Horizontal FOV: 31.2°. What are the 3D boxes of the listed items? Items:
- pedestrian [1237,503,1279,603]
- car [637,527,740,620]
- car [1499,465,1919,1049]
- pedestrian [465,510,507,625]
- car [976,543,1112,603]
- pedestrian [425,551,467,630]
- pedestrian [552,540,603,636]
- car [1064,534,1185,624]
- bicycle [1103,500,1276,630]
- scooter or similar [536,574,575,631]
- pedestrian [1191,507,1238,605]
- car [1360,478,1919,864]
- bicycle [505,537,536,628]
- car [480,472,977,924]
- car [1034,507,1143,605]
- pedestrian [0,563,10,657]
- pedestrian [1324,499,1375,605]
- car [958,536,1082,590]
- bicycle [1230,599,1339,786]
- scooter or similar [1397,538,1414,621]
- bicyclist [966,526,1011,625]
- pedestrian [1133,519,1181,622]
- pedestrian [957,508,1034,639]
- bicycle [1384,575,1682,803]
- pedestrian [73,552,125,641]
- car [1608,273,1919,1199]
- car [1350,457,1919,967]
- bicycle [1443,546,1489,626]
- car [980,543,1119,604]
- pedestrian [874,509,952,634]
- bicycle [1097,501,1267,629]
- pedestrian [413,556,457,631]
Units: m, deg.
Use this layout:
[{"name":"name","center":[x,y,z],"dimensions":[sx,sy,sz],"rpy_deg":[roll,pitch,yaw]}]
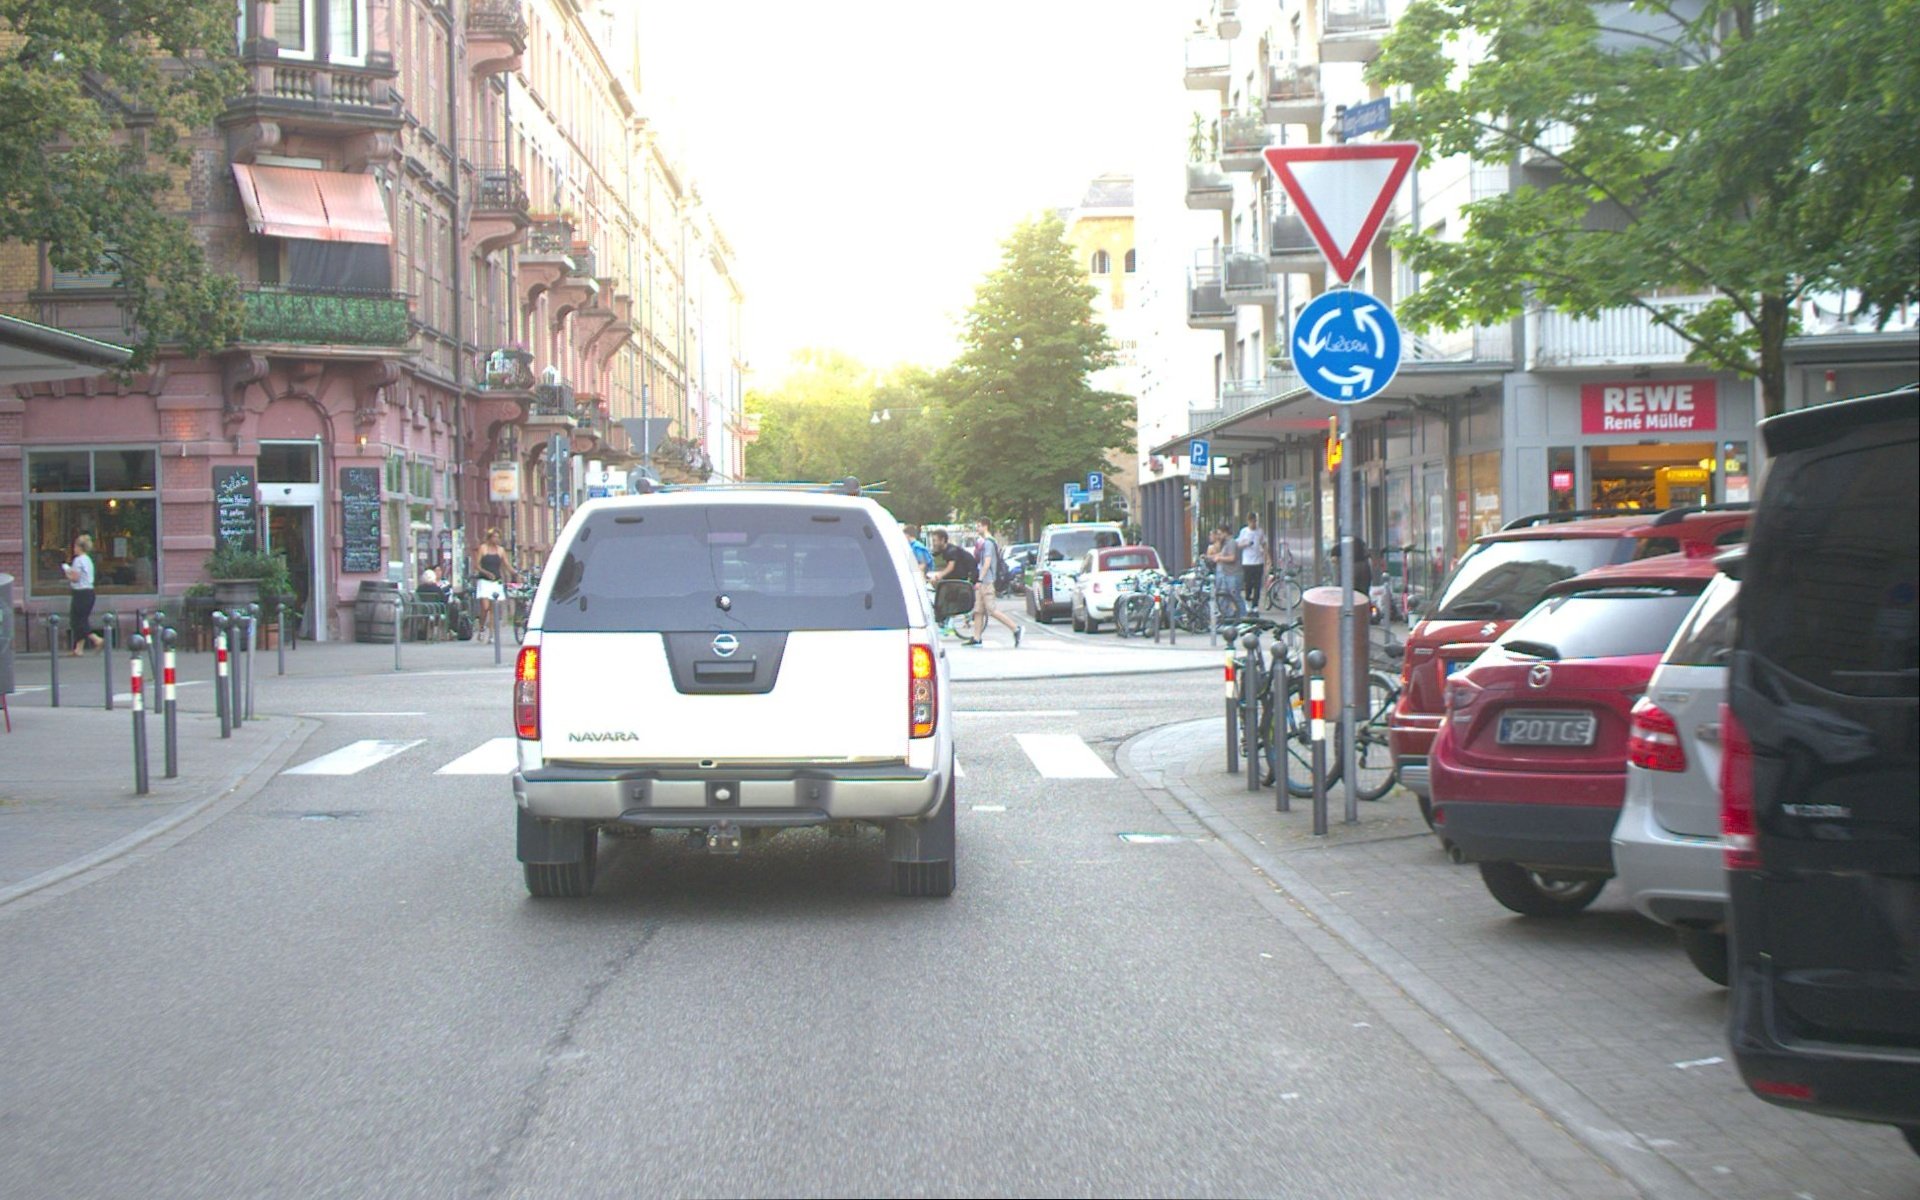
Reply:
[{"name":"pedestrian","center":[5.721,-0.907,66.116],"dimensions":[0.720,1.900,0.702],"rpy_deg":[1,0,-1]},{"name":"car","center":[-5.314,-0.517,67.654],"dimensions":[1.834,1.744,4.000],"rpy_deg":[1,0,-2]},{"name":"car","center":[4.041,0.323,11.357],"dimensions":[4.211,1.617,1.933],"rpy_deg":[-4,2,-34]},{"name":"pedestrian","center":[-7.587,-0.518,55.035],"dimensions":[0.503,1.834,0.573],"rpy_deg":[0,0,-24]},{"name":"car","center":[2.515,-0.807,103.832],"dimensions":[3.986,1.744,1.841],"rpy_deg":[1,0,-2]},{"name":"pedestrian","center":[-8.470,-0.160,56.684],"dimensions":[0.648,1.281,0.540],"rpy_deg":[1,0,-5]},{"name":"pedestrian","center":[-6.515,-0.210,58.544],"dimensions":[0.797,1.615,0.944],"rpy_deg":[1,0,-3]},{"name":"car","center":[2.907,-0.373,61.479],"dimensions":[1.834,1.536,4.000],"rpy_deg":[1,0,-2]},{"name":"bicycle","center":[3.594,-0.551,54.007],"dimensions":[2.647,2.007,0.638],"rpy_deg":[1,0,0]},{"name":"scooter or similar","center":[-6.691,0.038,56.825],"dimensions":[0.233,0.926,1.266],"rpy_deg":[0,0,-26]},{"name":"pedestrian","center":[4.354,-0.753,58.826],"dimensions":[0.720,1.657,0.702],"rpy_deg":[1,0,-1]},{"name":"car","center":[4.124,0.254,17.130],"dimensions":[4.036,1.622,1.693],"rpy_deg":[-3,3,-33]},{"name":"bicycle","center":[-7.041,-0.282,55.125],"dimensions":[0.424,1.437,1.905],"rpy_deg":[1,0,-6]},{"name":"car","center":[-0.911,0.303,16.231],"dimensions":[1.938,1.804,5.001],"rpy_deg":[0,2,1]},{"name":"car","center":[2.594,-0.892,70.252],"dimensions":[1.942,1.927,4.000],"rpy_deg":[1,0,-2]},{"name":"pedestrian","center":[-13.312,0.132,46.504],"dimensions":[0.754,1.258,0.668],"rpy_deg":[1,0,-2]},{"name":"pedestrian","center":[6.141,-0.751,54.265],"dimensions":[0.720,1.657,0.702],"rpy_deg":[1,0,1]},{"name":"car","center":[1.966,-1.220,113.623],"dimensions":[3.986,1.744,1.841],"rpy_deg":[1,0,-2]},{"name":"bicycle","center":[1.923,0.529,20.497],"dimensions":[0.364,1.060,1.552],"rpy_deg":[1,0,-5]},{"name":"scooter or similar","center":[6.779,-0.315,52.316],"dimensions":[0.219,1.233,0.966],"rpy_deg":[0,2,6]},{"name":"bicyclist","center":[0.562,-0.491,68.143],"dimensions":[0.838,1.937,0.784],"rpy_deg":[1,0,4]},{"name":"pedestrian","center":[3.220,-0.478,56.126],"dimensions":[0.720,1.657,0.702],"rpy_deg":[1,0,-1]},{"name":"pedestrian","center":[0.514,-0.378,49.512],"dimensions":[0.903,1.878,0.616],"rpy_deg":[0,0,-32]},{"name":"bicycle","center":[3.095,0.469,18.565],"dimensions":[1.547,1.157,0.365],"rpy_deg":[-2,1,-15]},{"name":"pedestrian","center":[-12.334,-0.048,49.232],"dimensions":[0.455,1.258,0.574],"rpy_deg":[1,0,24]},{"name":"car","center":[4.184,0.198,8.521],"dimensions":[5.422,2.065,1.933],"rpy_deg":[-5,2,-39]},{"name":"car","center":[3.779,0.286,13.788],"dimensions":[4.212,1.682,1.933],"rpy_deg":[-5,2,-39]},{"name":"bicycle","center":[7.091,-0.196,48.175],"dimensions":[0.289,1.109,0.966],"rpy_deg":[1,0,-14]},{"name":"car","center":[2.620,-0.791,101.596],"dimensions":[3.986,1.744,1.841],"rpy_deg":[1,0,-2]},{"name":"pedestrian","center":[-0.664,-0.397,48.297],"dimensions":[0.615,1.730,0.904],"rpy_deg":[1,0,44]},{"name":"bicycle","center":[3.537,-0.557,54.821],"dimensions":[2.647,2.007,0.638],"rpy_deg":[1,0,0]},{"name":"pedestrian","center":[-8.474,-0.105,55.498],"dimensions":[0.648,1.187,0.540],"rpy_deg":[1,0,-5]}]
